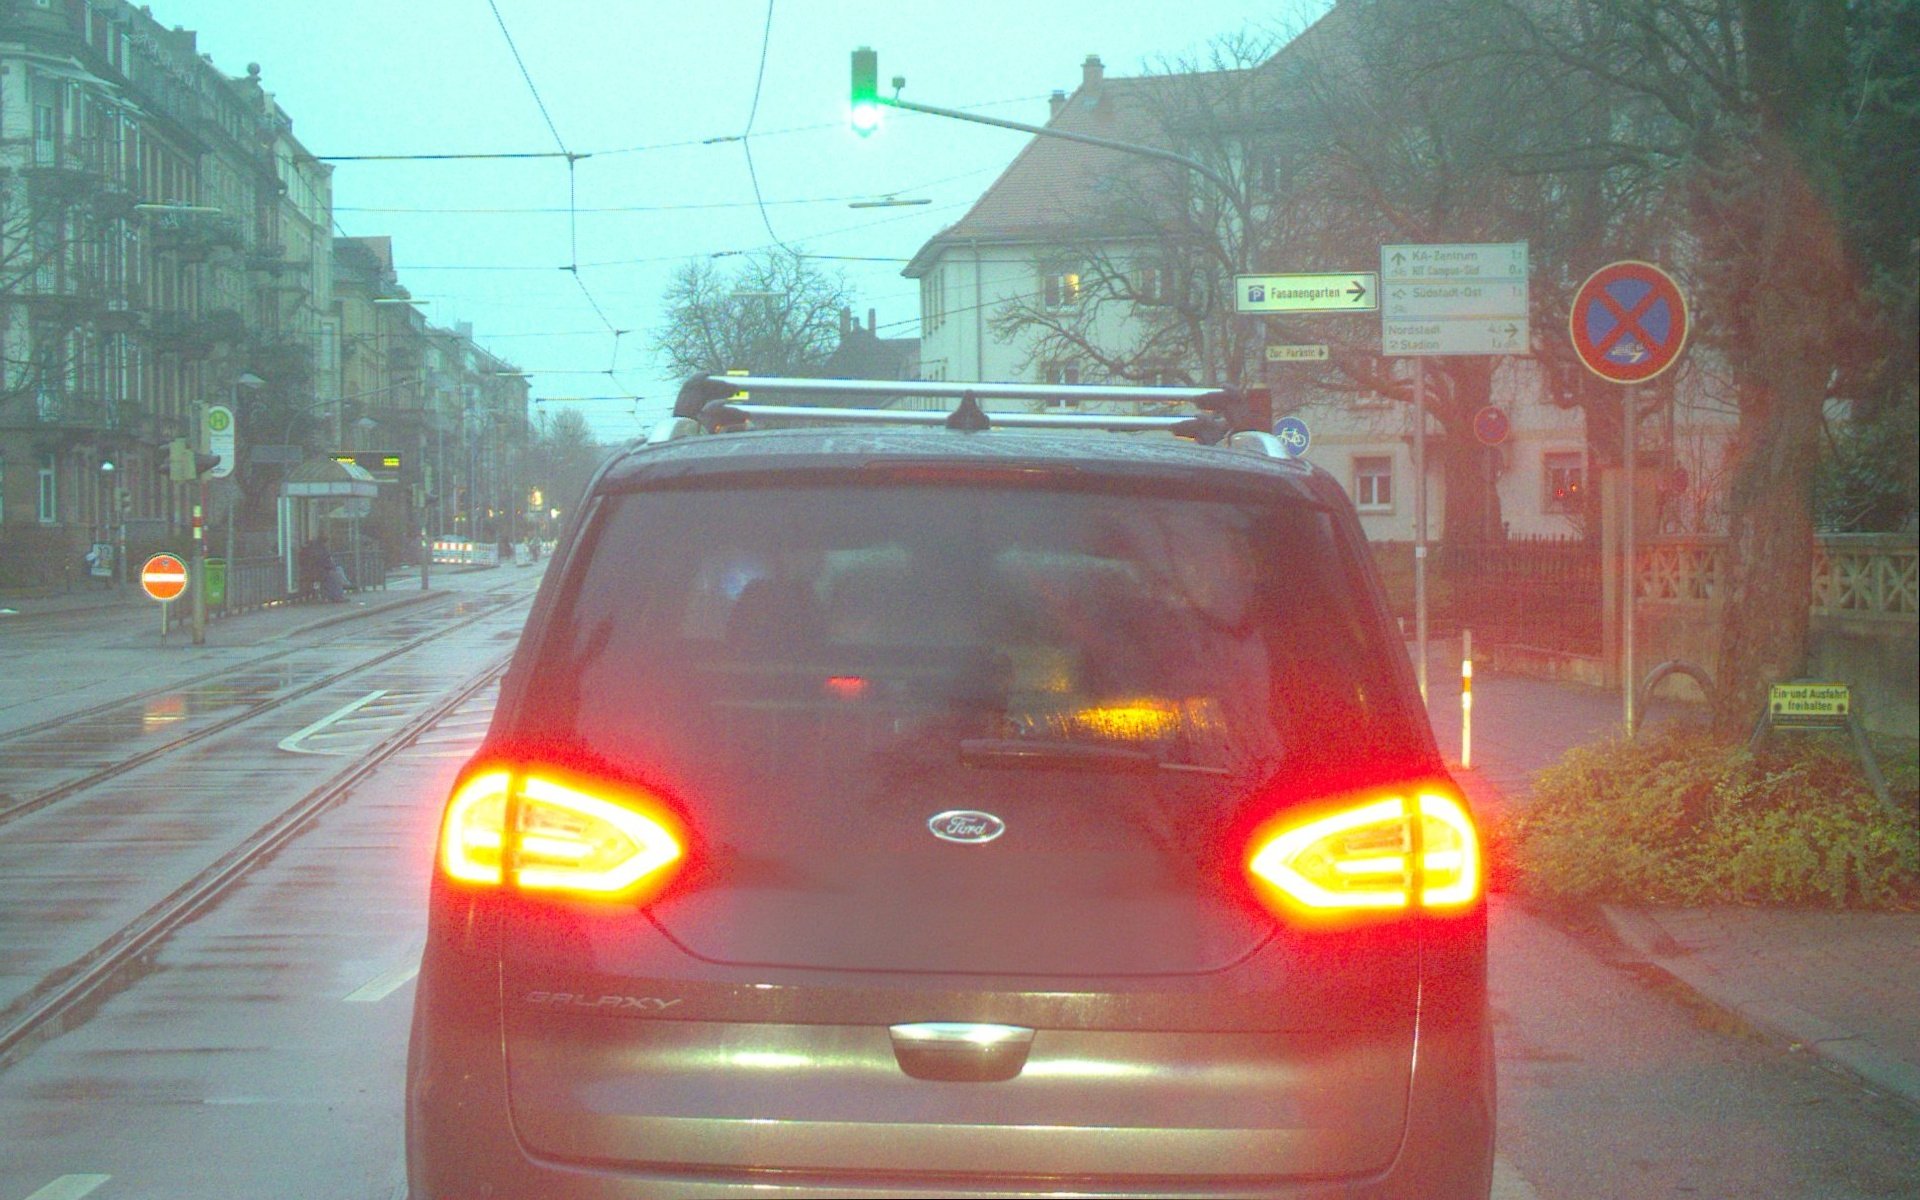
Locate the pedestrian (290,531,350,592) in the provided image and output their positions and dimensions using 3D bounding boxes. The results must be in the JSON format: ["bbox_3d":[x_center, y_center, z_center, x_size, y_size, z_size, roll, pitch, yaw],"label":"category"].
[{"bbox_3d":[-12.672,-0.765,68.068,1.047,1.196,0.885,0,0,-3],"label":"pedestrian"}]

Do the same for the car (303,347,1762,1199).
[{"bbox_3d":[0.016,0.515,7.356,2.103,1.810,4.661,1,1,-2],"label":"car"}]

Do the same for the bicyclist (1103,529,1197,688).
[{"bbox_3d":[2.055,0.079,37.328,0.716,1.657,1.057,3,1,-8],"label":"bicyclist"}]
